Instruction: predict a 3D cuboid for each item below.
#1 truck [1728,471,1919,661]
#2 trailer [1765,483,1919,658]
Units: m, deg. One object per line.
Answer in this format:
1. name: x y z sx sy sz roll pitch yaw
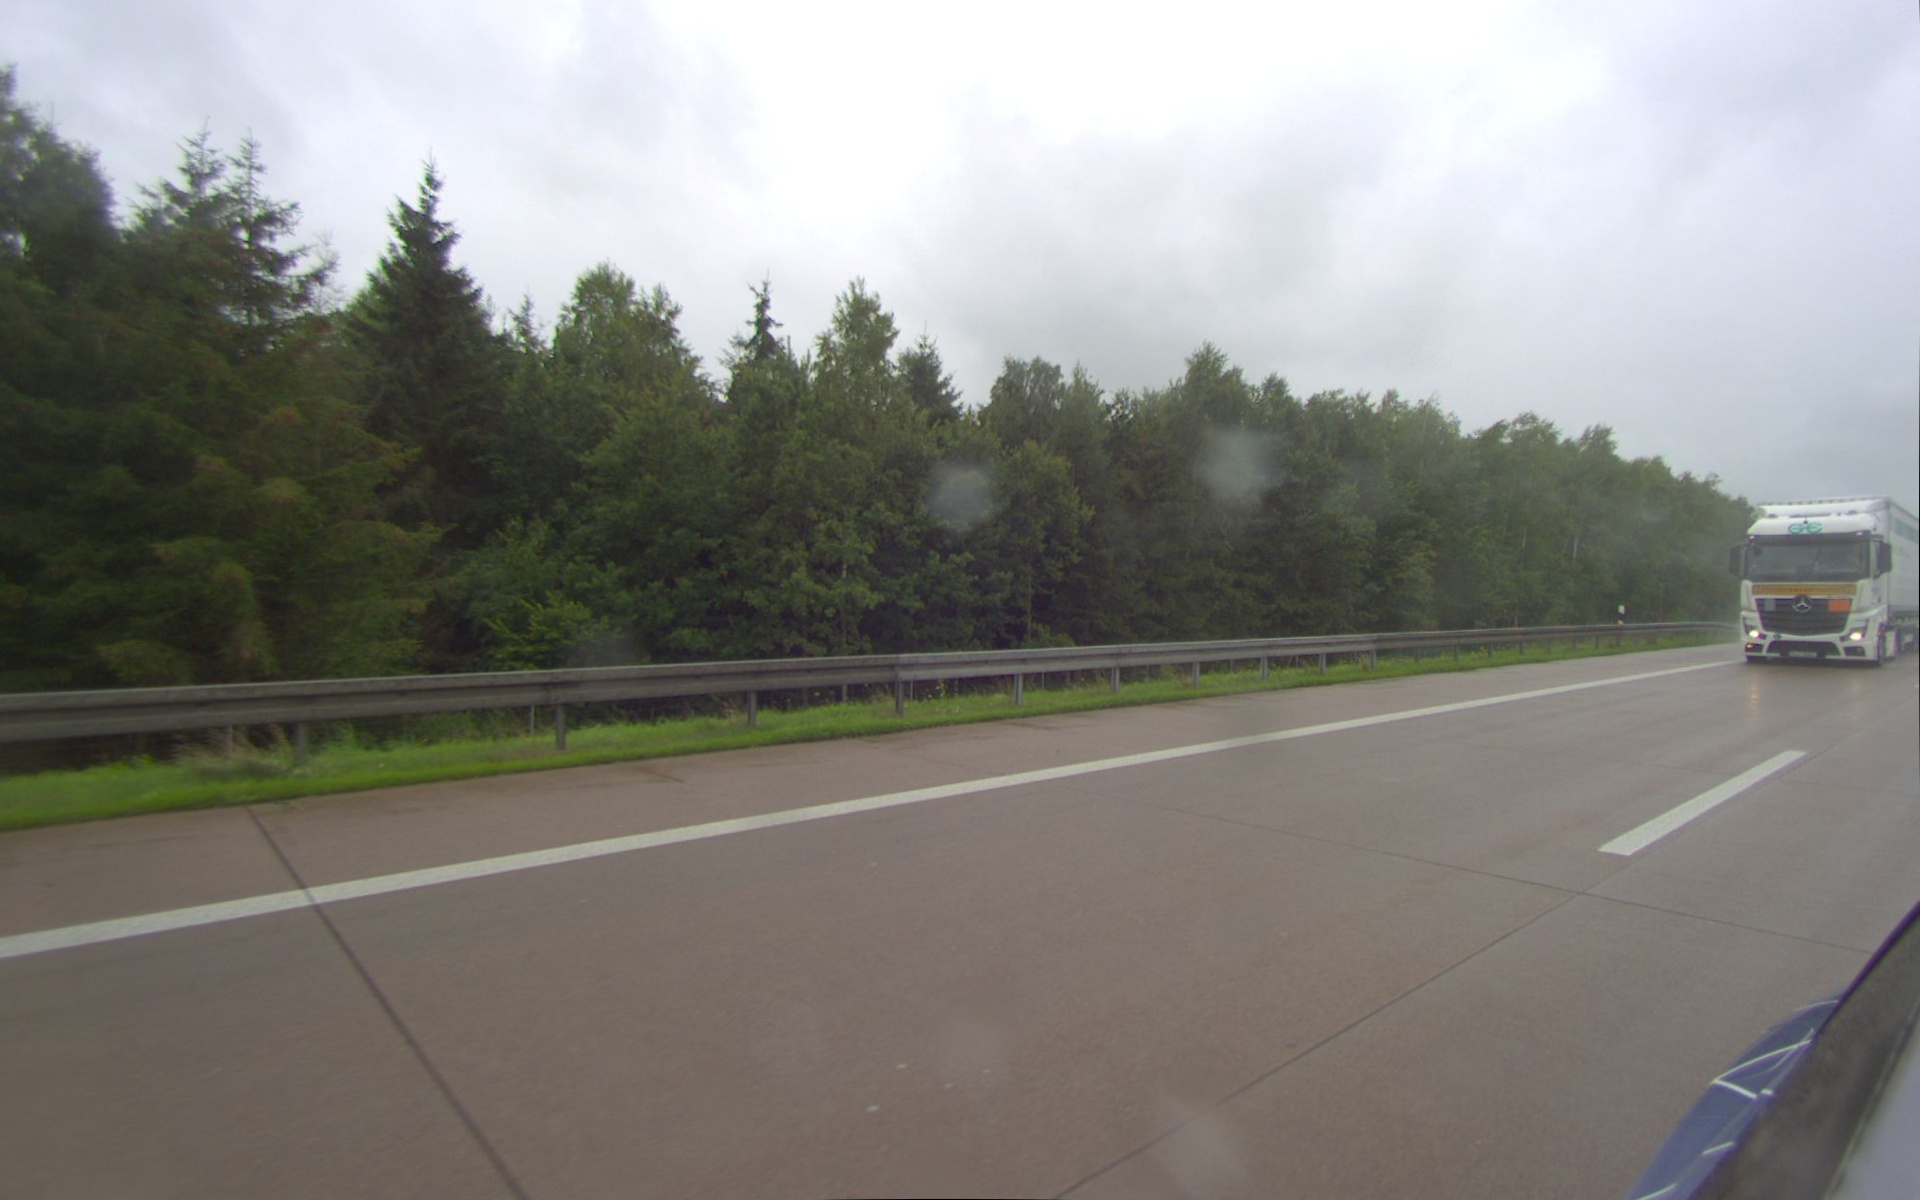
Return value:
1. truck: 21.847 -0.756 25.317 6.238 4.158 2.886 1 1 -41
2. trailer: 27.254 -0.686 30.176 12.904 4.284 2.857 1 1 -42
